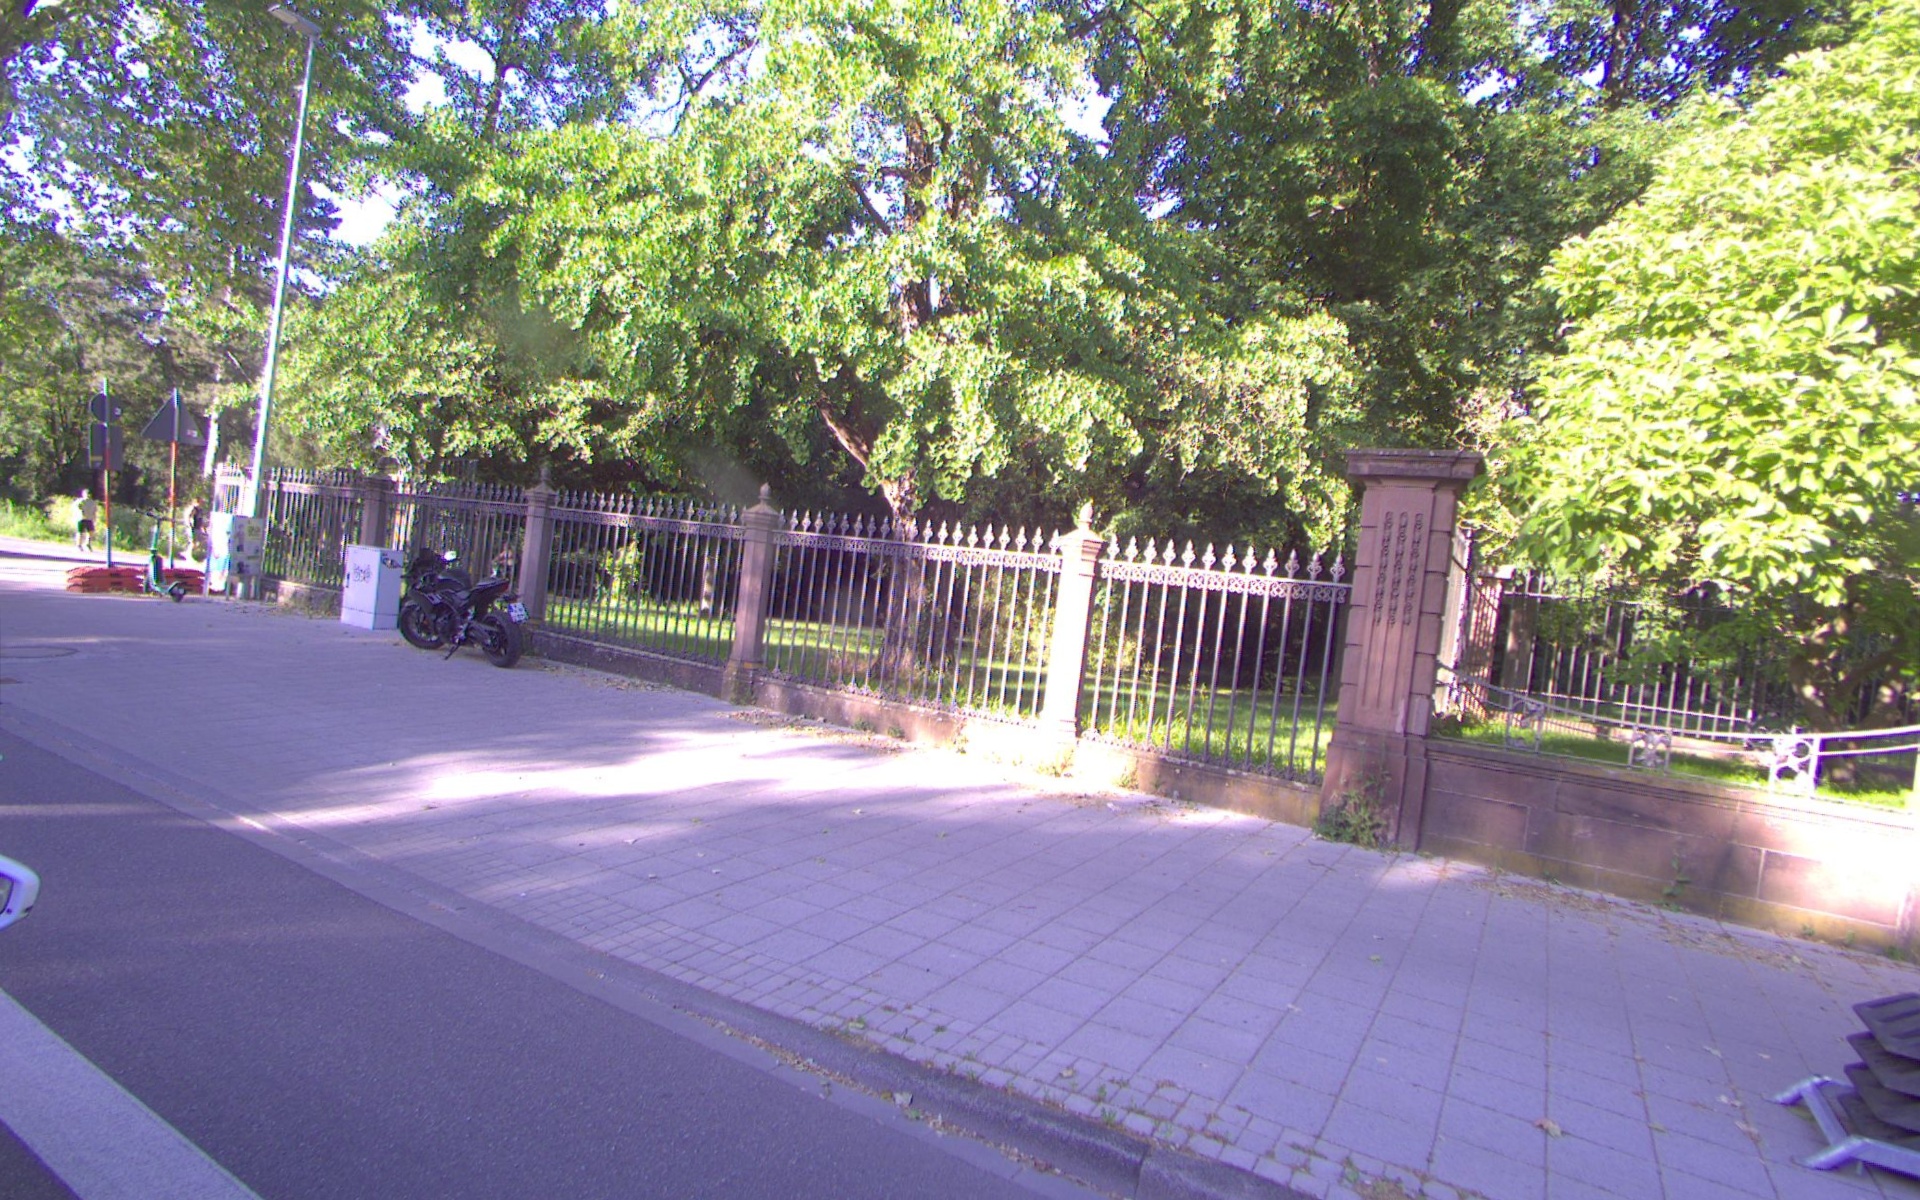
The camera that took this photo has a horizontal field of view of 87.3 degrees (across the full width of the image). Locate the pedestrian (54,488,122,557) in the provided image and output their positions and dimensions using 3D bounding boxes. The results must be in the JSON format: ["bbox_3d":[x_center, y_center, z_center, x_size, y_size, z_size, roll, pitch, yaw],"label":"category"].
[{"bbox_3d":[-21.621,-1.922,24.942,0.899,1.536,0.821,7,-1,23],"label":"pedestrian"}]

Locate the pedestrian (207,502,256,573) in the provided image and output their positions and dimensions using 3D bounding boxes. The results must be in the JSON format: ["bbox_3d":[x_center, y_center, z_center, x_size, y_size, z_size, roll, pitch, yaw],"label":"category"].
[{"bbox_3d":[-18.969,-1.614,26.197,0.632,1.721,0.690,7,1,25],"label":"pedestrian"}]

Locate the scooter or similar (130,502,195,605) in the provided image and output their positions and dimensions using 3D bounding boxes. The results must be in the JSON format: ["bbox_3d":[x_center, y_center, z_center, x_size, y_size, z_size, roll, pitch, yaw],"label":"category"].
[{"bbox_3d":[-11.293,-0.663,14.240,1.152,1.344,0.228,7,2,30],"label":"scooter or similar"}]

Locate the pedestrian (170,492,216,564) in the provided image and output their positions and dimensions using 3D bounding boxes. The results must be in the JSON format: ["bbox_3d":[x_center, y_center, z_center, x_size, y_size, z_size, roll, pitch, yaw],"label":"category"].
[{"bbox_3d":[-20.541,-1.918,26.956,0.824,1.794,0.812,6,2,-35],"label":"pedestrian"}]

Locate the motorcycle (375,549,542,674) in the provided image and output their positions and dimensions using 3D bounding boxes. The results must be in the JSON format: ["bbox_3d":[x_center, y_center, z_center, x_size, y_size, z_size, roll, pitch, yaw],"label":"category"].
[{"bbox_3d":[-5.570,0.102,11.110,2.134,1.146,0.506,7,2,30],"label":"motorcycle"}]

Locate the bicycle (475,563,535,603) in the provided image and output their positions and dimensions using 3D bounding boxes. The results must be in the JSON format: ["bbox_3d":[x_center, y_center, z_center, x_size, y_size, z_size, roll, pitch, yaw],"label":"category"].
[{"bbox_3d":[-14.424,-0.536,31.918,1.607,1.027,0.471,8,-1,-34],"label":"bicycle"}]

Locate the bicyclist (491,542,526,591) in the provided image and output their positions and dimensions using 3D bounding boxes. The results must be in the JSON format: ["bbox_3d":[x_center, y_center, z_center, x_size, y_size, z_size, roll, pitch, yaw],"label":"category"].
[{"bbox_3d":[-14.325,-1.054,31.926,0.777,1.448,0.660,7,-1,-35],"label":"bicyclist"}]
